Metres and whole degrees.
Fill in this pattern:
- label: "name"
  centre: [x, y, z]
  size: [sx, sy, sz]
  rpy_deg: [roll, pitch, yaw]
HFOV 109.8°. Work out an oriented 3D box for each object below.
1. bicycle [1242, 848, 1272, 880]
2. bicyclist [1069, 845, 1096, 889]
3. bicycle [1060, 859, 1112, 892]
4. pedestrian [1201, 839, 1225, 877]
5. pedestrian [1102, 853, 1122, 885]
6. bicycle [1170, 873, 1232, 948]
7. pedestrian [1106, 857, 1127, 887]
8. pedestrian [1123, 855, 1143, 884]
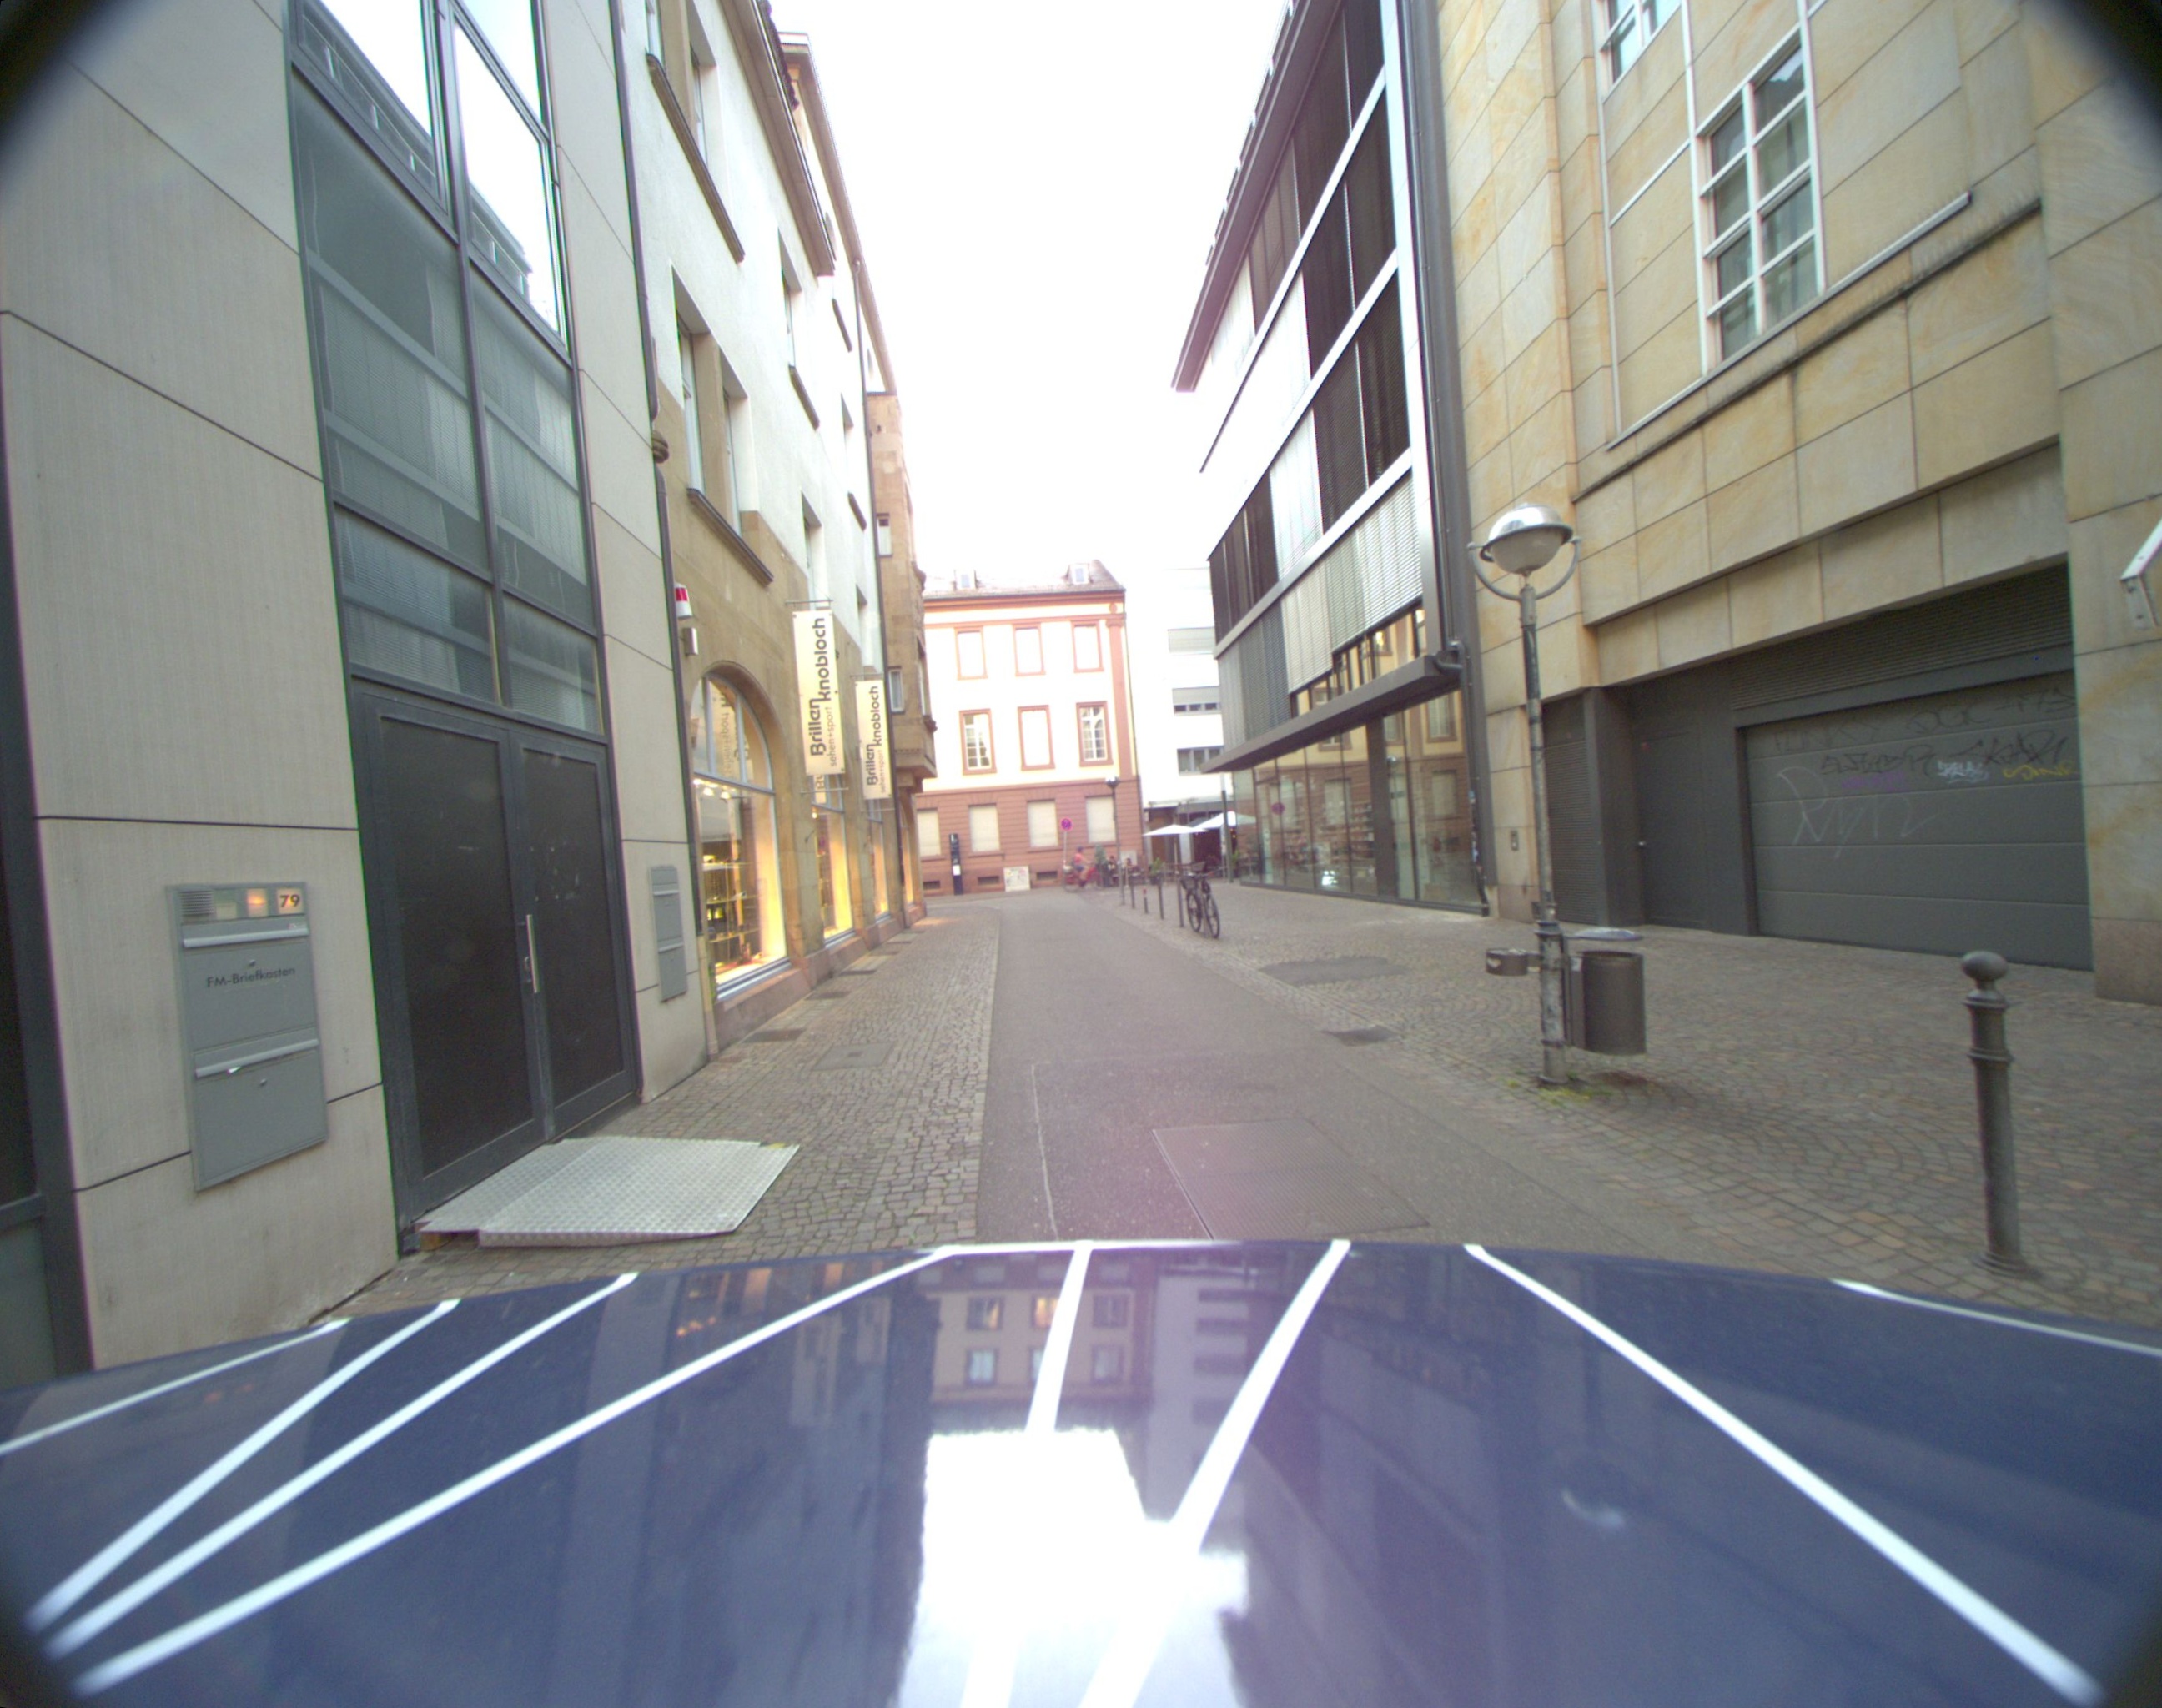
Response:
- label: "bicycle"
  centre: [6.499, 0.387, 28.146]
  size: [0.467, 1.129, 1.702]
  rpy_deg: [-4, -1, -5]
- label: "bicyclist"
  centre: [0.053, 0.512, 30.832]
  size: [0.900, 1.694, 0.630]
  rpy_deg: [-5, 1, -4]
- label: "bicycle"
  centre: [0.207, 0.882, 30.826]
  size: [1.980, 1.143, 0.578]
  rpy_deg: [-5, 1, -4]
- label: "pedestrian"
  centre: [5.943, 0.184, 34.293]
  size: [0.725, 1.639, 0.792]
  rpy_deg: [-5, 1, -10]
- label: "pedestrian"
  centre: [1.383, 0.671, 33.987]
  size: [0.673, 1.324, 0.792]
  rpy_deg: [-4, 2, -7]
- label: "bicycle"
  centre: [2.037, 0.931, 13.160]
  size: [0.411, 1.126, 1.929]
  rpy_deg: [-5, 1, -9]
- label: "pedestrian"
  centre: [1.524, 0.766, 32.634]
  size: [0.674, 1.177, 0.792]
  rpy_deg: [-4, 2, -10]
- label: "pedestrian"
  centre: [2.304, 0.678, 33.751]
  size: [0.673, 1.177, 0.792]
  rpy_deg: [-4, 2, -7]
